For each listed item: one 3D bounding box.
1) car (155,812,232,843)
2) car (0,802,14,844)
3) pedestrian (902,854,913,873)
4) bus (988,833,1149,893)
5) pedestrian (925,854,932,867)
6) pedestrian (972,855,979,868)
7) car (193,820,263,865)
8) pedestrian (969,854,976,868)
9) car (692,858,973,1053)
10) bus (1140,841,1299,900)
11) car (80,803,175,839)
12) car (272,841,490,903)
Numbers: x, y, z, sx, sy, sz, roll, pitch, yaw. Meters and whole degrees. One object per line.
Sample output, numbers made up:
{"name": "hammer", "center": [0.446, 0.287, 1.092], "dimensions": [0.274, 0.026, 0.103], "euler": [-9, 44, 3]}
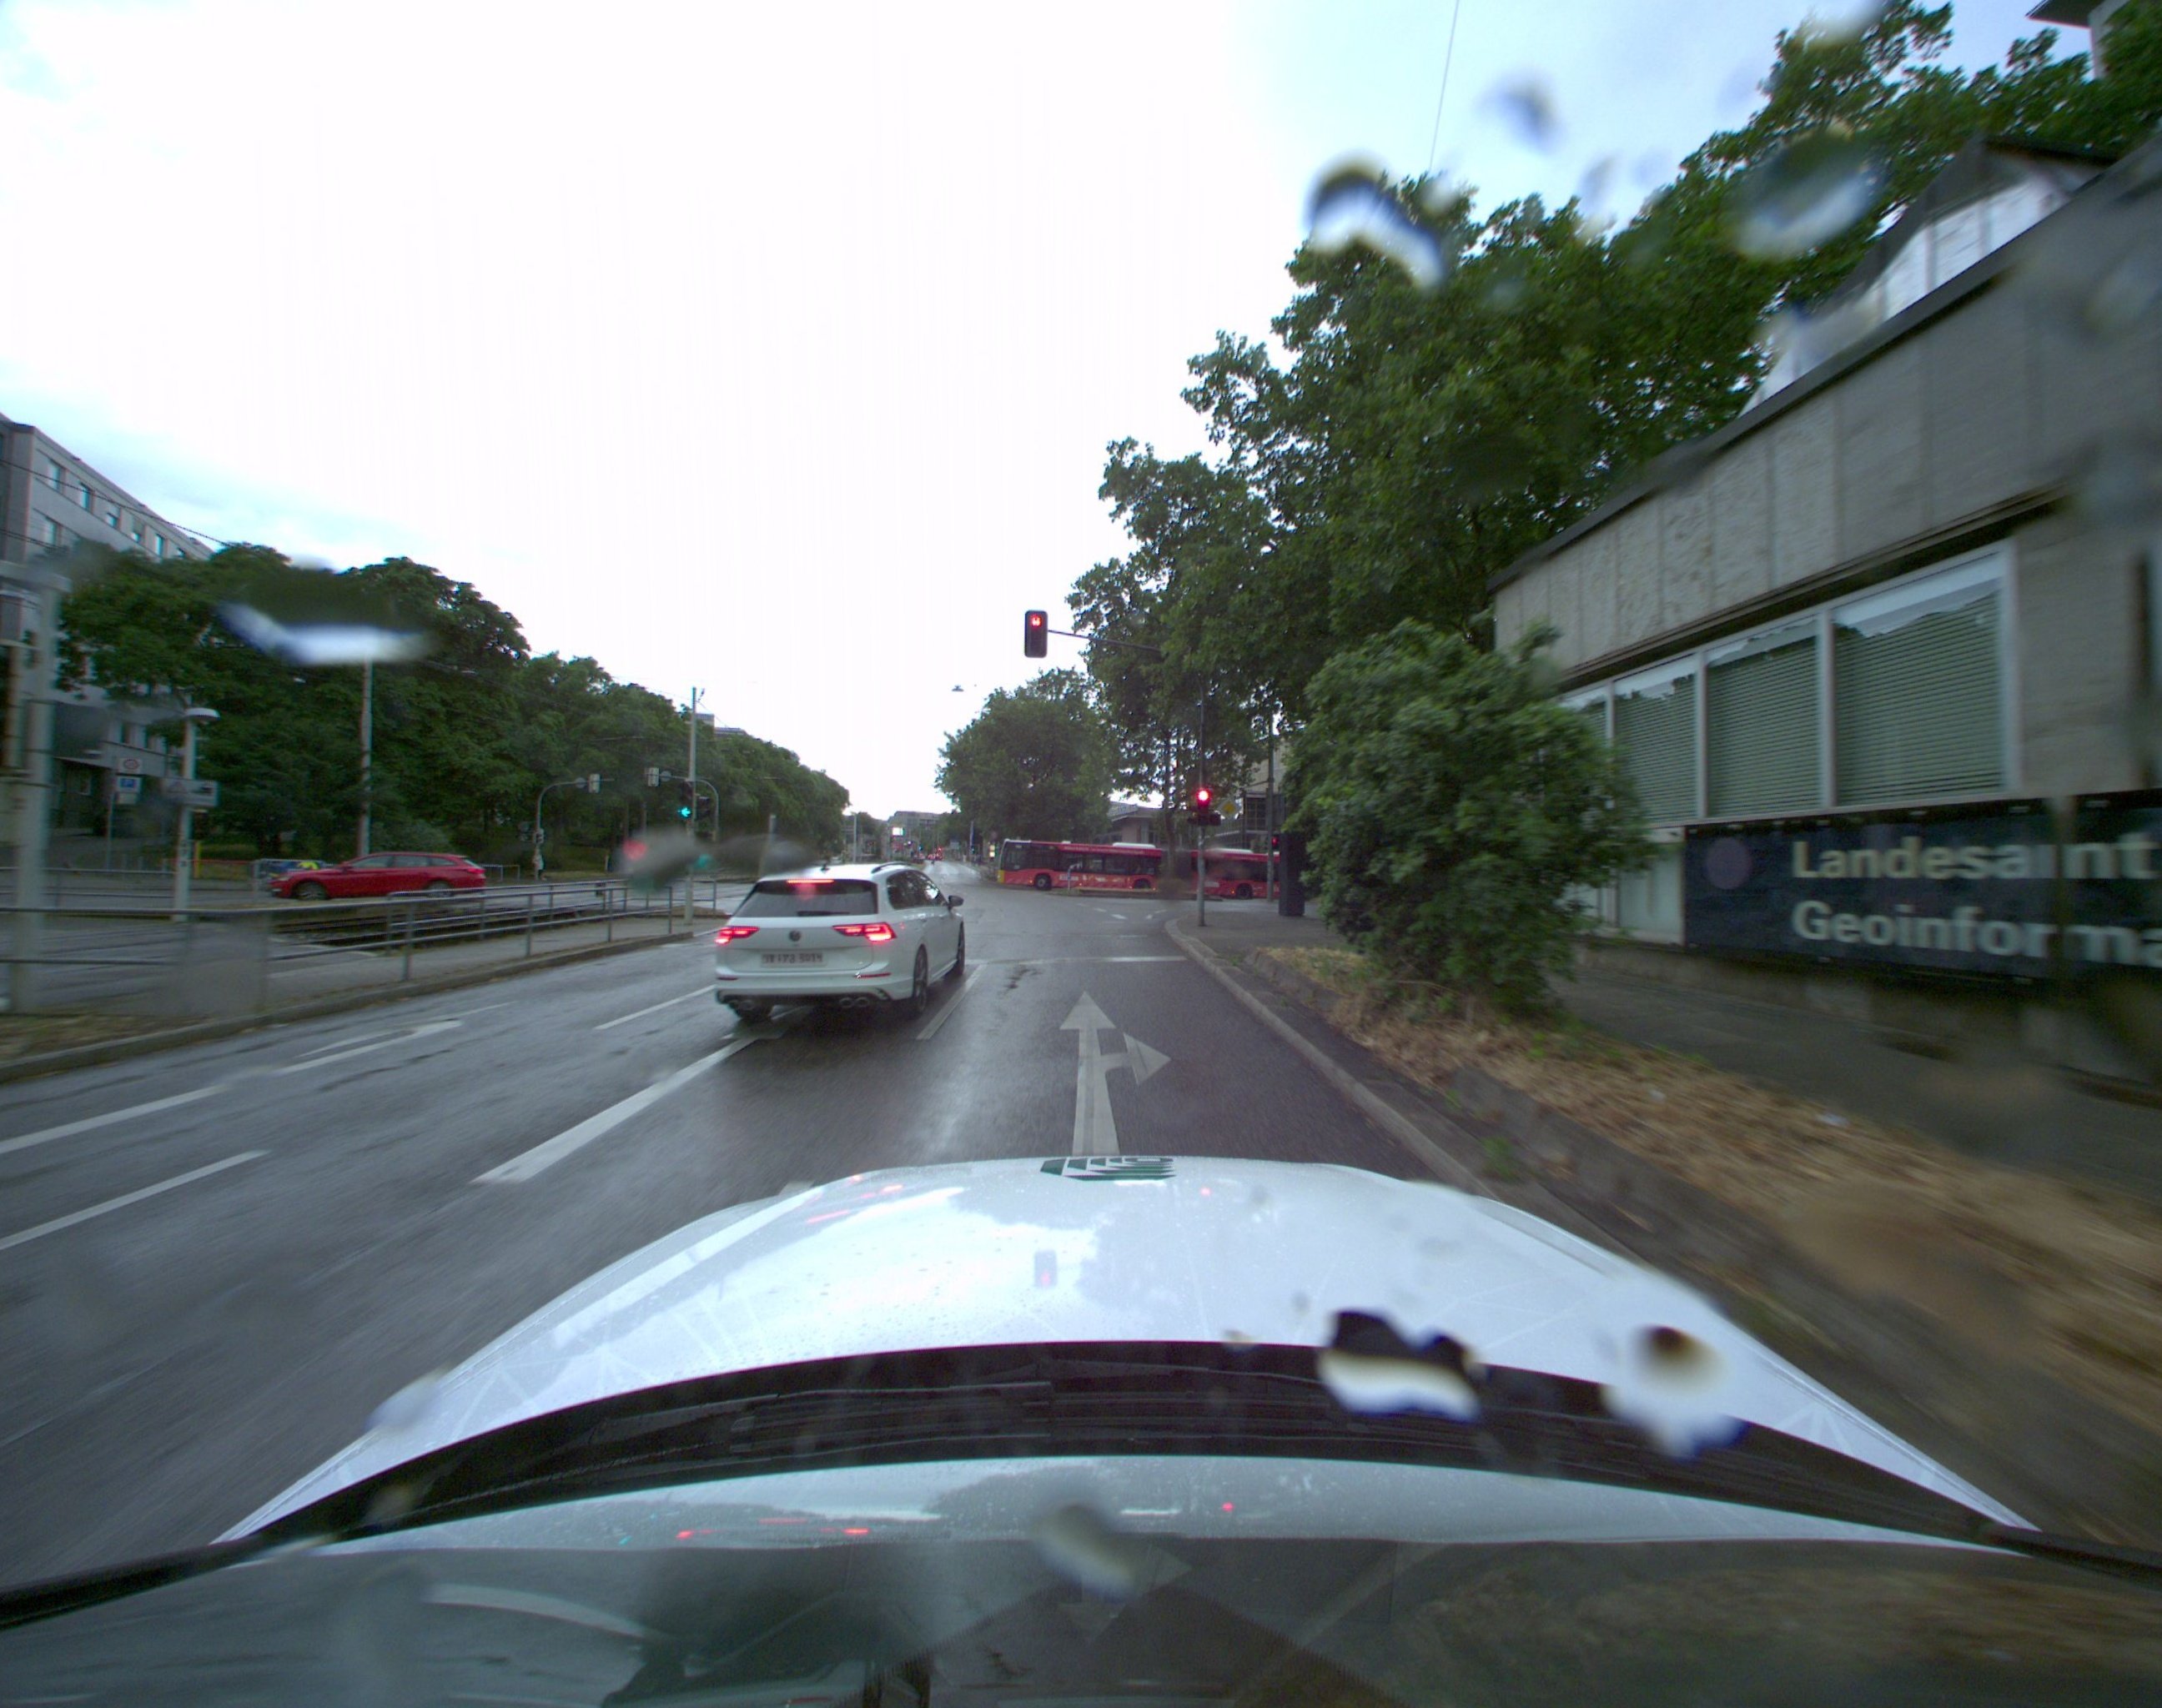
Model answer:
{"name": "car", "center": [-57.665, -1.695, 53.010], "dimensions": [2.004, 1.794, 4.172], "euler": [3, -2, -27]}
{"name": "car", "center": [-48.145, -1.346, 34.907], "dimensions": [2.010, 1.793, 3.955], "euler": [4, 1, -40]}
{"name": "pedestrian", "center": [-15.202, 0.820, 71.422], "dimensions": [0.735, 1.640, 0.871], "euler": [2, -2, 2]}
{"name": "bus", "center": [-0.725, 0.586, 49.188], "dimensions": [9.396, 3.111, 2.557], "euler": [3, -2, -1]}
{"name": "pedestrian", "center": [-39.199, 1.597, 209.374], "dimensions": [1.352, 3.252, 0.981], "euler": [3, -2, -5]}
{"name": "pedestrian", "center": [-14.595, 1.034, 112.454], "dimensions": [0.756, 1.823, 0.698], "euler": [3, -2, -12]}
{"name": "car", "center": [-60.442, -0.788, 57.795], "dimensions": [2.004, 2.998, 4.172], "euler": [3, -2, -27]}
{"name": "pedestrian", "center": [-14.806, 0.996, 111.148], "dimensions": [0.756, 1.823, 0.698], "euler": [3, -2, -12]}
{"name": "car", "center": [-2.321, 0.844, 8.816], "dimensions": [1.673, 1.576, 4.253], "euler": [0, 0, 1]}
{"name": "bus", "center": [8.394, 1.002, 49.694], "dimensions": [9.147, 3.111, 2.657], "euler": [3, -2, -8]}
{"name": "car", "center": [-53.498, -1.804, 45.809], "dimensions": [2.005, 1.794, 4.171], "euler": [3, -2, -29]}
{"name": "car", "center": [-19.870, 0.552, 23.439], "dimensions": [4.431, 1.640, 1.967], "euler": [2, -1, -32]}
